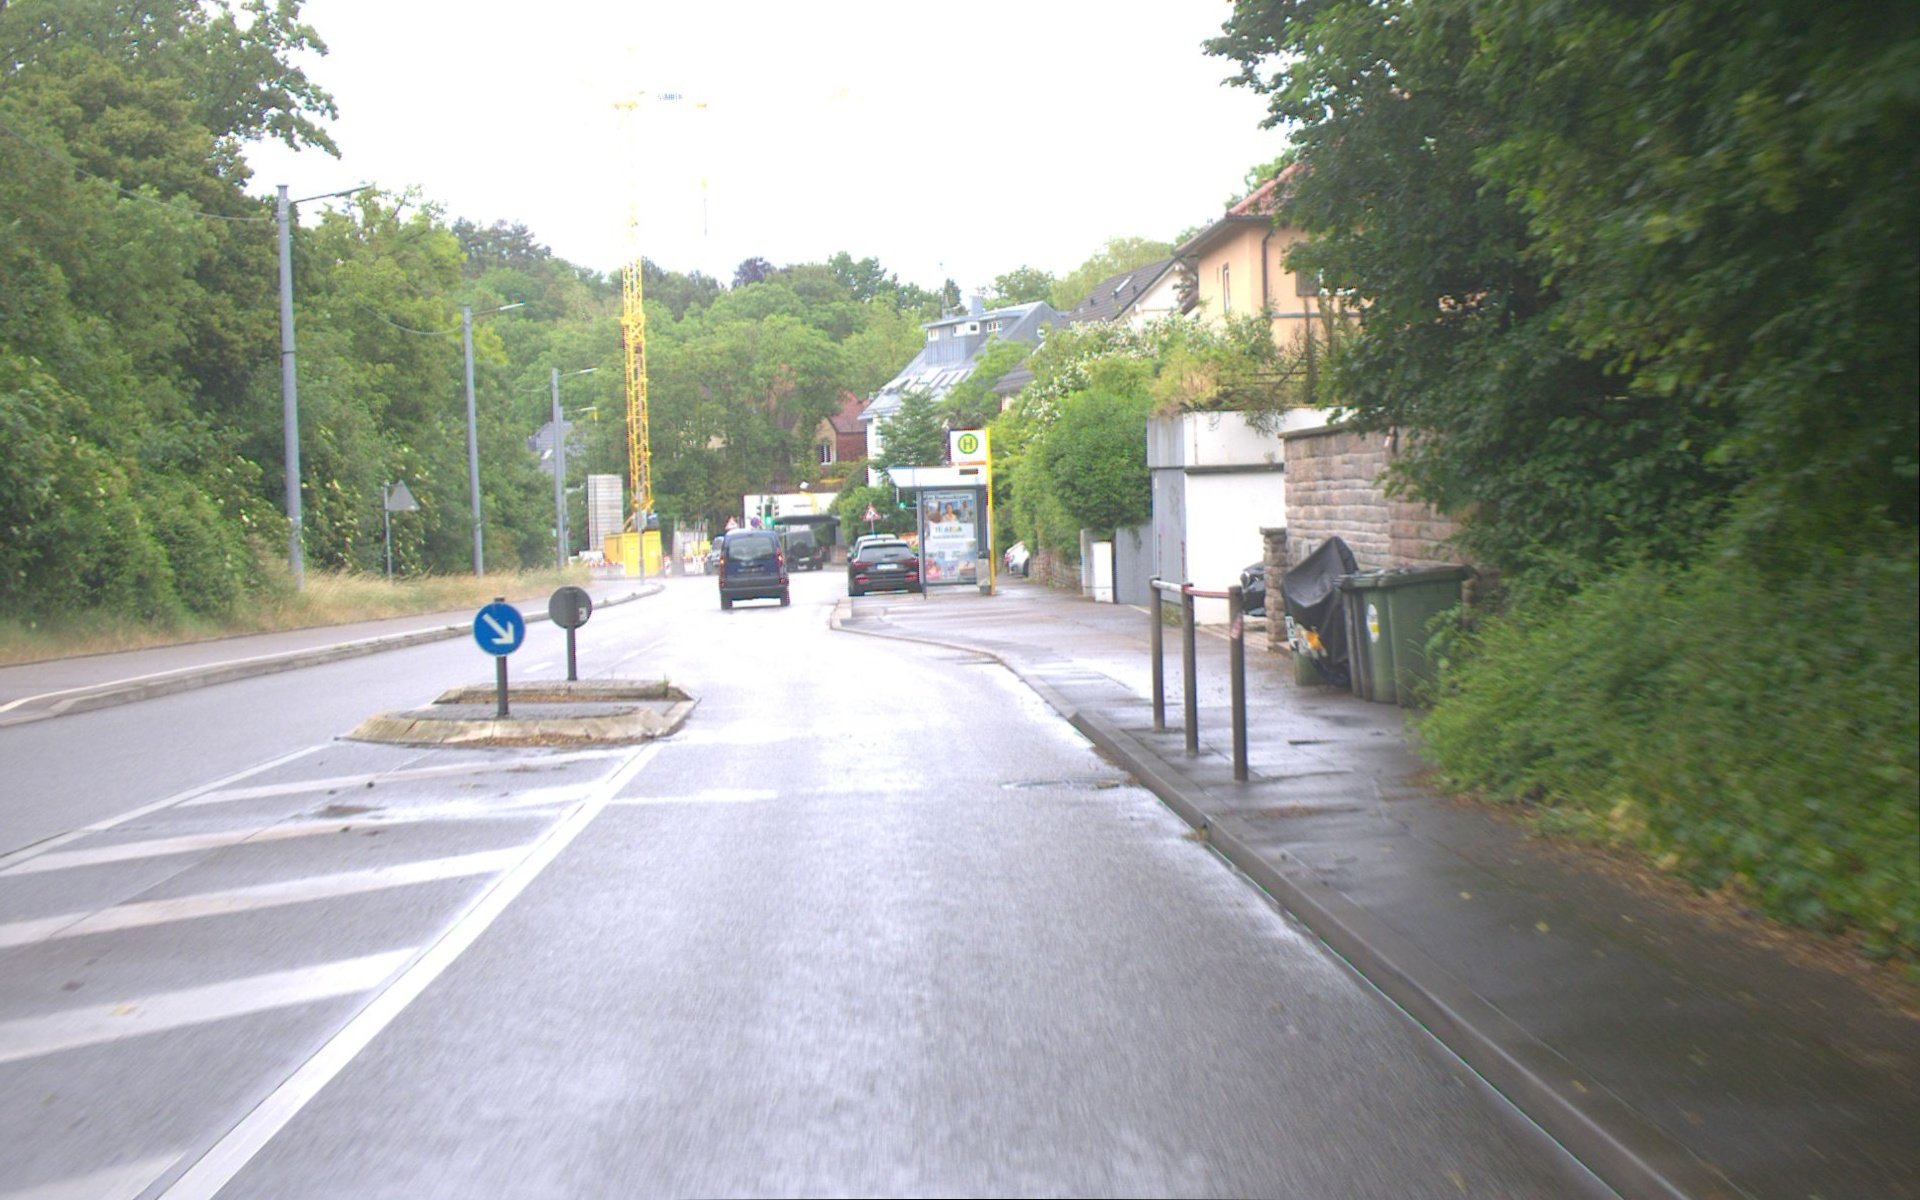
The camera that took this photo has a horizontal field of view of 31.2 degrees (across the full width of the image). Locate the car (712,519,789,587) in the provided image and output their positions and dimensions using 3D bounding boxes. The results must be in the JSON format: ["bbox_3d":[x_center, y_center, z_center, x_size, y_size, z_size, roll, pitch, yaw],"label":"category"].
[{"bbox_3d":[-5.040,-1.140,83.132,1.667,1.588,3.683,-1,1,-1],"label":"car"}]

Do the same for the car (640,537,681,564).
[{"bbox_3d":[-17.745,-2.929,203.731,1.739,1.546,3.857,-1,1,-15],"label":"car"}]

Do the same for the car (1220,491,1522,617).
[{"bbox_3d":[5.470,-0.623,45.997,3.769,1.547,1.609,-2,1,-2],"label":"car"}]

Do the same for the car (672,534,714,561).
[{"bbox_3d":[-15.351,-3.009,197.736,1.739,1.546,3.857,0,1,-15],"label":"car"}]

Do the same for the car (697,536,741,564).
[{"bbox_3d":[-13.481,-2.804,192.311,1.739,1.546,3.857,-1,1,-15],"label":"car"}]

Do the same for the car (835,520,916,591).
[{"bbox_3d":[-2.135,-1.138,87.196,1.993,1.766,4.115,0,1,-1],"label":"car"}]
